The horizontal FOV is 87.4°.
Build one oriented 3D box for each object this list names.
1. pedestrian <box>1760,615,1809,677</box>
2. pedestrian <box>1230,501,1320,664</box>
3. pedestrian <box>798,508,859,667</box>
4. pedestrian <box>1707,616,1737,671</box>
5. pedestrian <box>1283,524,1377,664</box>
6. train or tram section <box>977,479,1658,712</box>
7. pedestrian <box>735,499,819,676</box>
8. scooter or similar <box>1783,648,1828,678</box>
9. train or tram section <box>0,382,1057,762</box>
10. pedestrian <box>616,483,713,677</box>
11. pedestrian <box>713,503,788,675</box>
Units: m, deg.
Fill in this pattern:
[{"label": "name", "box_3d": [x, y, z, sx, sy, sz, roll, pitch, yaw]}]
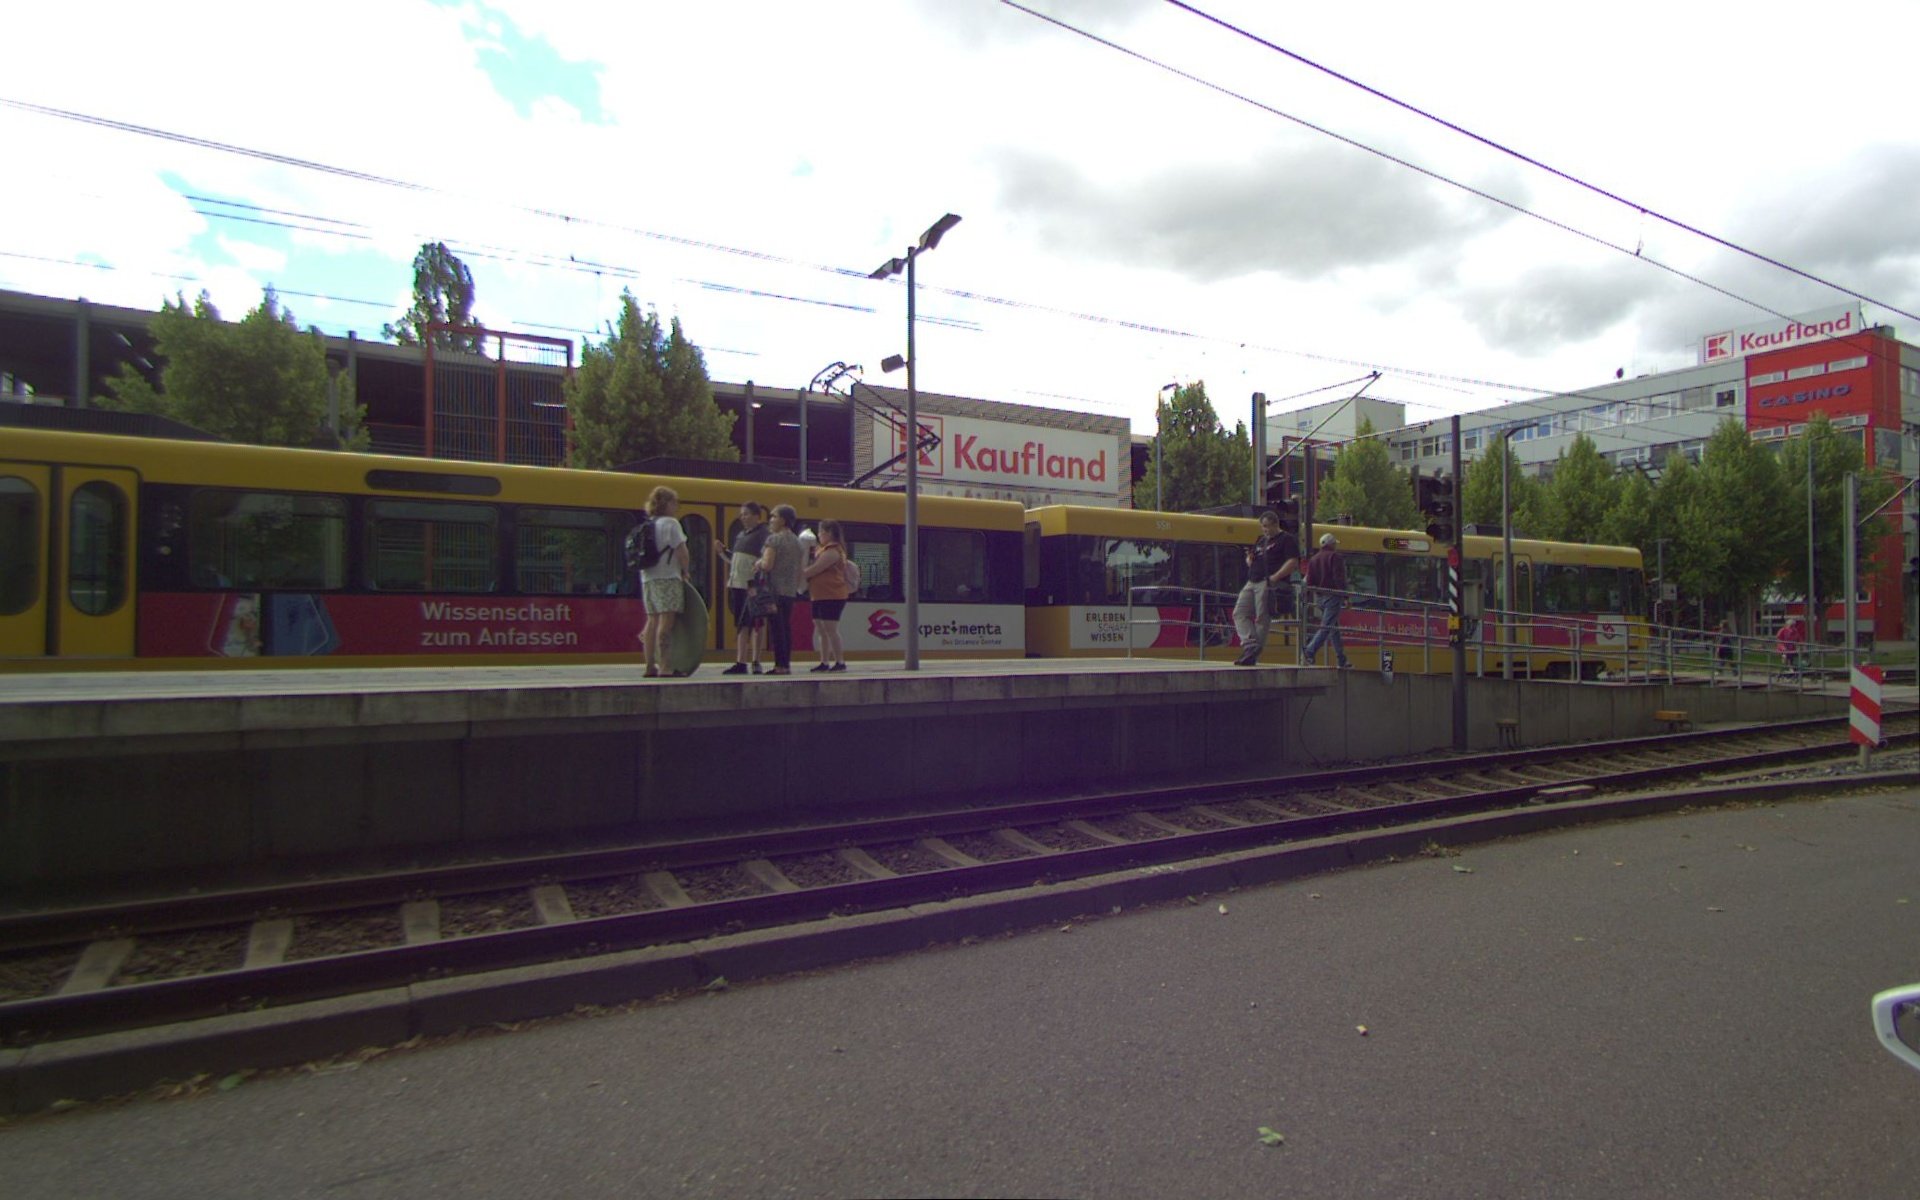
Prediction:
[{"label": "pedestrian", "box_3d": [22.503, 1.261, 27.414, 0.781, 1.675, 0.614, 0, -2, -9]}, {"label": "pedestrian", "box_3d": [3.418, -0.160, 10.956, 0.858, 1.700, 0.746, -1, -3, 14]}, {"label": "pedestrian", "box_3d": [-1.225, -0.096, 9.304, 0.407, 1.424, 0.476, 1, -3, -31]}, {"label": "pedestrian", "box_3d": [23.589, 1.361, 31.104, 0.458, 1.683, 0.516, 0, -3, -19]}, {"label": "pedestrian", "box_3d": [4.658, -0.051, 12.655, 0.781, 1.700, 0.768, 1, -3, -30]}, {"label": "train or tram section", "box_3d": [9.037, 0.083, 22.371, 18.400, 3.879, 2.745, 1, -2, -29]}, {"label": "pedestrian", "box_3d": [-1.590, -0.097, 8.746, 0.632, 1.484, 0.359, 1, -1, -31]}, {"label": "scooter or similar", "box_3d": [22.585, 1.674, 26.842, 0.784, 0.778, 0.497, 0, -3, -9]}, {"label": "train or tram section", "box_3d": [-7.087, -0.204, 13.496, 18.401, 3.934, 2.745, 1, -2, -29]}, {"label": "pedestrian", "box_3d": [-2.358, -0.143, 8.057, 0.570, 1.502, 0.521, -1, -2, 8]}, {"label": "pedestrian", "box_3d": [-1.899, -0.086, 9.105, 0.536, 1.502, 0.473, 1, -3, -33]}]
